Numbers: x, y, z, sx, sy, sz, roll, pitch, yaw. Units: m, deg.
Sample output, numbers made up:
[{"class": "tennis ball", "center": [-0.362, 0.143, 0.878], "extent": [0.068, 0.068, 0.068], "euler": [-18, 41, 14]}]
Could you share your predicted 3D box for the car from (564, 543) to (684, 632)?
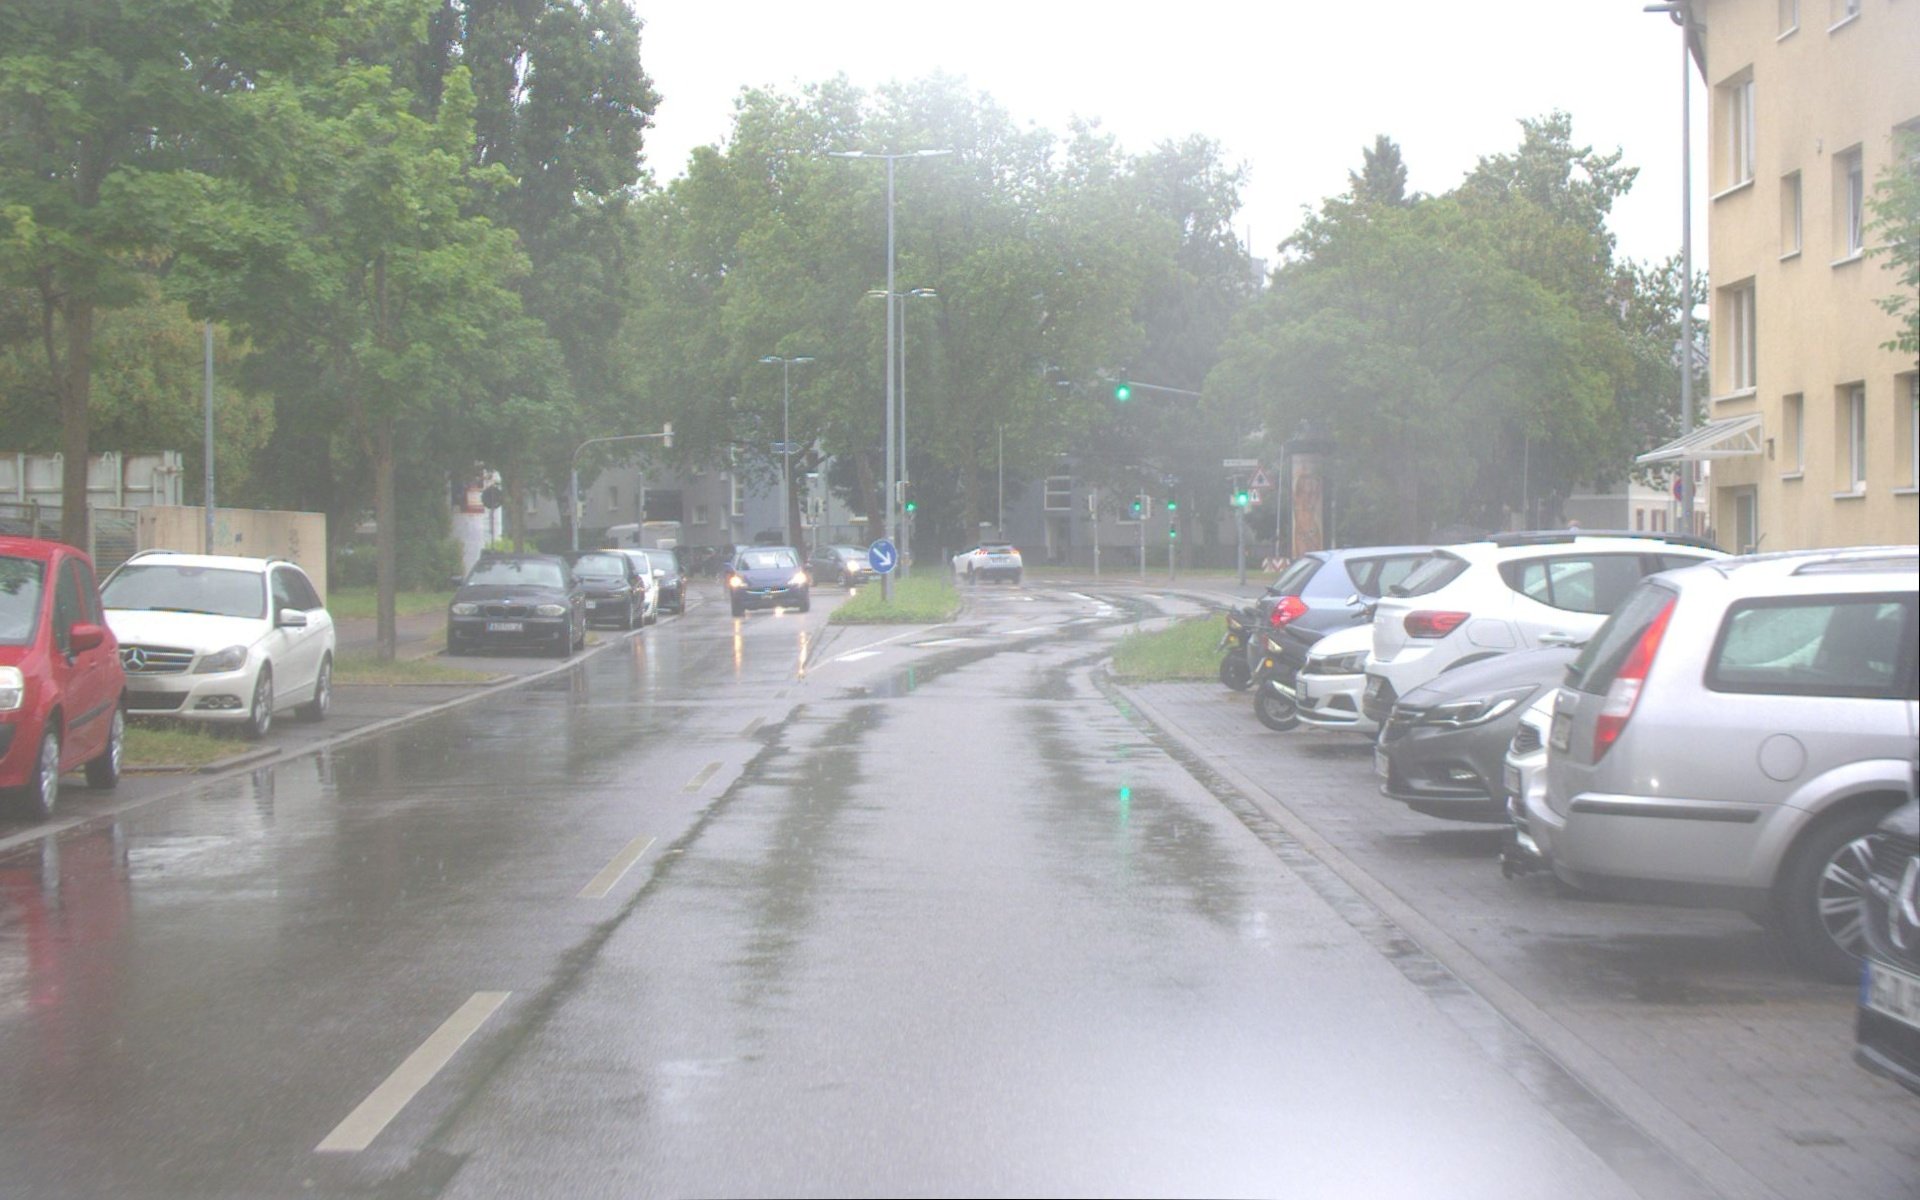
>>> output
[{"class": "car", "center": [-6.794, -0.269, 69.780], "extent": [1.927, 1.725, 4.000], "euler": [1, 1, 1]}]

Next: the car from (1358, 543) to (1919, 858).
[{"class": "car", "center": [4.105, 0.476, 17.258], "extent": [3.987, 1.461, 1.782], "euler": [1, 1, 0]}]

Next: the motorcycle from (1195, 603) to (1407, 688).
[{"class": "motorcycle", "center": [3.405, 0.452, 34.328], "extent": [2.073, 0.790, 0.710], "euler": [1, 1, 6]}]

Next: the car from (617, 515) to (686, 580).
[{"class": "car", "center": [-15.671, -2.655, 174.335], "extent": [2.219, 3.226, 4.671], "euler": [1, 1, -22]}]

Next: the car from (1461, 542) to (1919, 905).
[{"class": "car", "center": [4.294, 0.514, 14.985], "extent": [3.987, 1.469, 1.802], "euler": [1, 1, 2]}]

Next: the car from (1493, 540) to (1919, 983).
[{"class": "car", "center": [4.165, 0.550, 12.484], "extent": [4.270, 1.449, 1.984], "euler": [1, 2, 5]}]

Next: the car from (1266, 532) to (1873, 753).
[{"class": "car", "center": [4.343, 0.289, 24.916], "extent": [3.986, 1.485, 1.862], "euler": [1, 1, -3]}]

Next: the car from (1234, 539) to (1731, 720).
[{"class": "car", "center": [4.441, 0.235, 29.700], "extent": [3.987, 1.456, 1.935], "euler": [1, 1, 0]}]

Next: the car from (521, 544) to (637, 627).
[{"class": "car", "center": [-6.997, -0.293, 63.463], "extent": [1.928, 1.479, 4.001], "euler": [0, 1, -4]}]

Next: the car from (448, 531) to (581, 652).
[{"class": "car", "center": [-6.298, -0.159, 48.660], "extent": [1.775, 1.524, 4.001], "euler": [1, 2, -7]}]

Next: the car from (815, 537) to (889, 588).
[{"class": "car", "center": [-3.723, -1.292, 118.230], "extent": [1.740, 1.683, 4.001], "euler": [1, 1, -13]}]

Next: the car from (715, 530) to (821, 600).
[{"class": "car", "center": [-4.225, -0.769, 76.108], "extent": [1.993, 1.480, 4.000], "euler": [1, 1, 1]}]

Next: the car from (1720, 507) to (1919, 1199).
[{"class": "car", "center": [4.079, 0.610, 7.521], "extent": [4.341, 1.547, 2.040], "euler": [1, 1, -1]}]

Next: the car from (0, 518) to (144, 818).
[{"class": "car", "center": [-5.934, 0.327, 20.318], "extent": [1.624, 1.592, 4.202], "euler": [1, 1, -6]}]

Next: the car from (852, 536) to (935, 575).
[{"class": "car", "center": [-2.605, -1.755, 134.339], "extent": [1.849, 1.519, 4.155], "euler": [0, 1, -22]}]

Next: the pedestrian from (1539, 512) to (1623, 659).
[{"class": "pedestrian", "center": [8.618, -0.204, 47.719], "extent": [1.011, 2.007, 0.951], "euler": [1, 0, 17]}]

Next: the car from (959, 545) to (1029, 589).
[{"class": "car", "center": [1.158, -1.155, 118.864], "extent": [1.849, 1.519, 4.001], "euler": [0, 1, -7]}]

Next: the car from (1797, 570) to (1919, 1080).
[{"class": "car", "center": [4.687, 0.658, 10.067], "extent": [3.987, 1.407, 1.845], "euler": [1, 1, 0]}]

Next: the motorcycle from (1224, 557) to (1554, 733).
[{"class": "motorcycle", "center": [3.328, 0.343, 26.824], "extent": [2.398, 1.319, 0.920], "euler": [1, 0, -5]}]

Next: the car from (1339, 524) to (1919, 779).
[{"class": "car", "center": [4.597, 0.316, 22.364], "extent": [3.986, 1.547, 1.905], "euler": [1, 1, -2]}]

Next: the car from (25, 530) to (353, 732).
[{"class": "car", "center": [-6.308, 0.216, 28.636], "extent": [1.768, 1.523, 4.598], "euler": [1, 1, -1]}]

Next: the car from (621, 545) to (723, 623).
[{"class": "car", "center": [-6.670, -0.386, 80.055], "extent": [1.927, 1.725, 4.000], "euler": [1, 1, 1]}]
